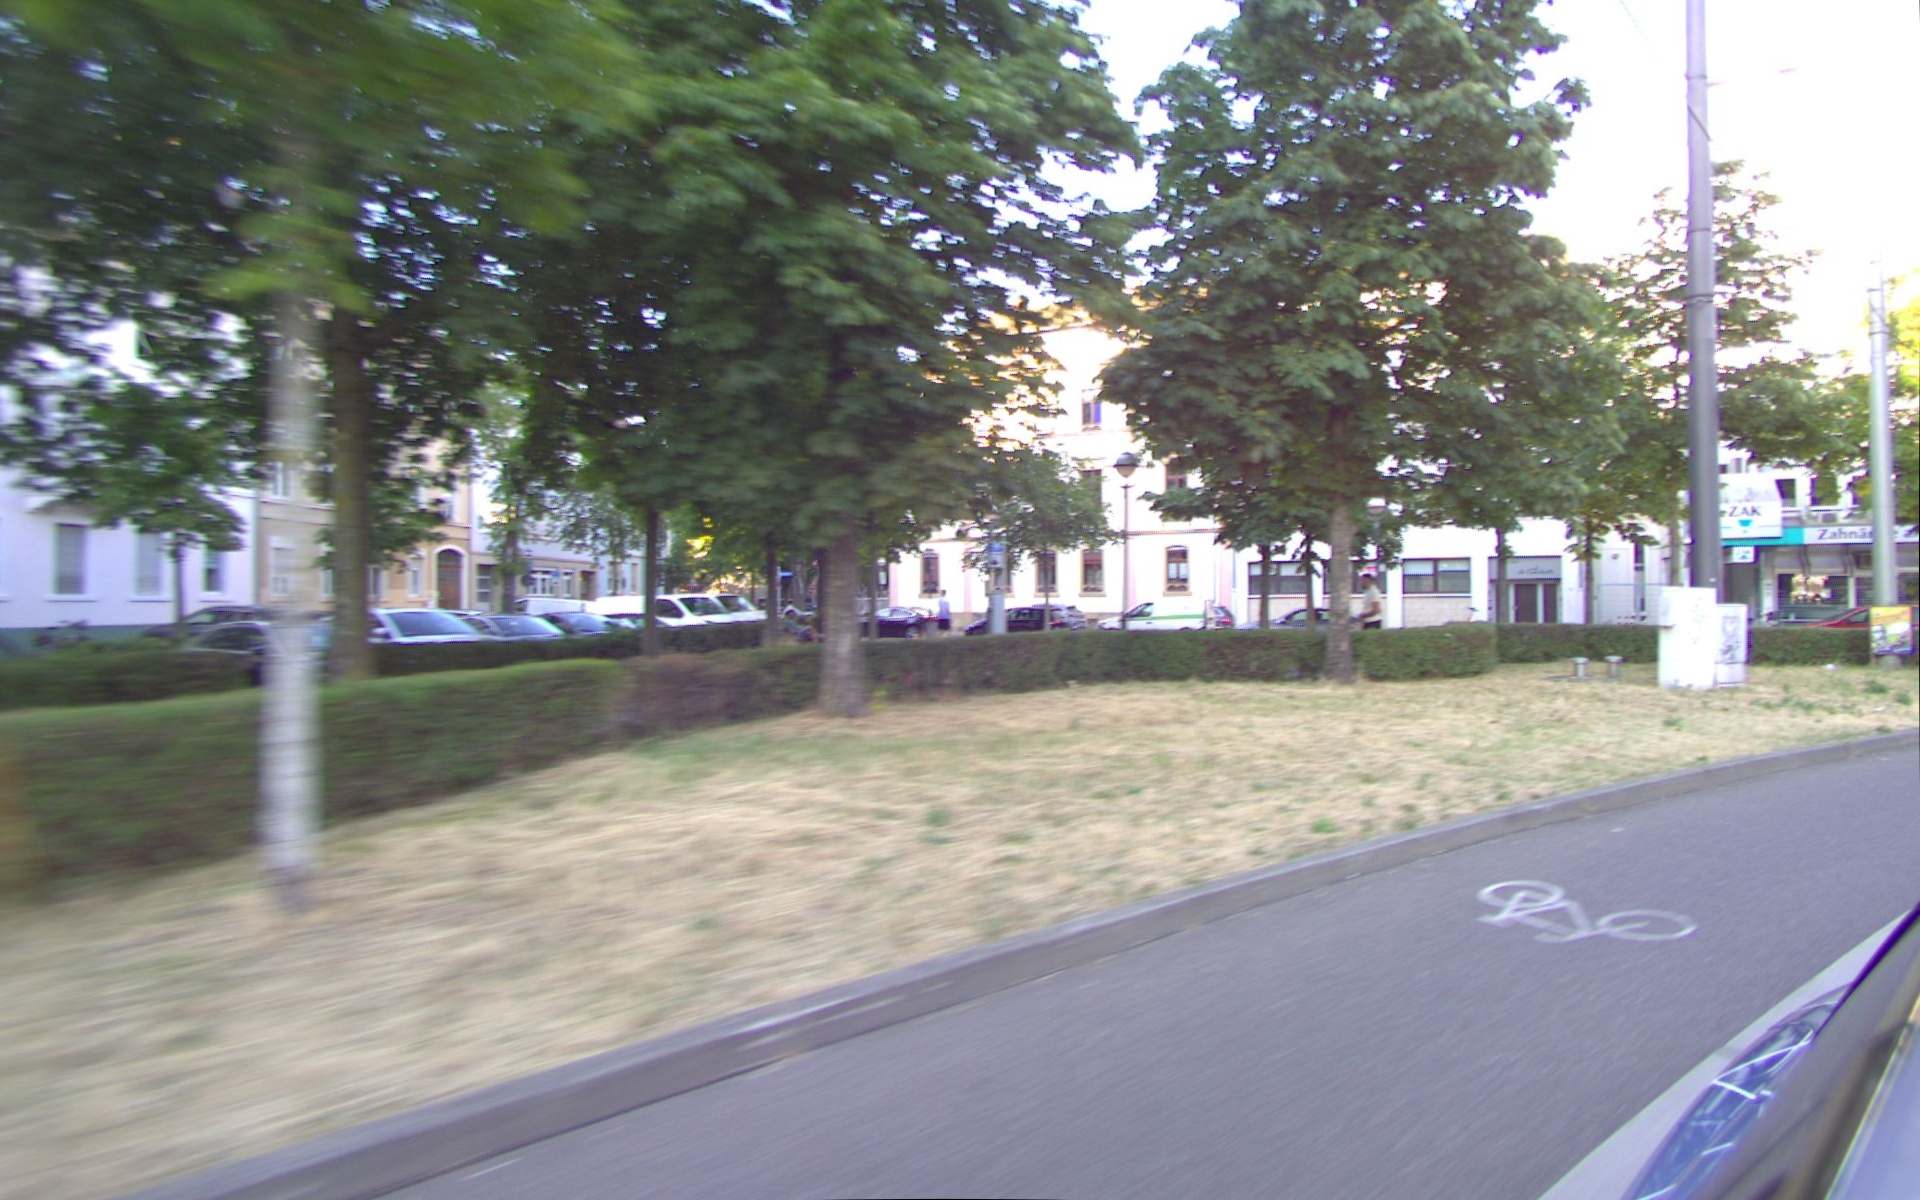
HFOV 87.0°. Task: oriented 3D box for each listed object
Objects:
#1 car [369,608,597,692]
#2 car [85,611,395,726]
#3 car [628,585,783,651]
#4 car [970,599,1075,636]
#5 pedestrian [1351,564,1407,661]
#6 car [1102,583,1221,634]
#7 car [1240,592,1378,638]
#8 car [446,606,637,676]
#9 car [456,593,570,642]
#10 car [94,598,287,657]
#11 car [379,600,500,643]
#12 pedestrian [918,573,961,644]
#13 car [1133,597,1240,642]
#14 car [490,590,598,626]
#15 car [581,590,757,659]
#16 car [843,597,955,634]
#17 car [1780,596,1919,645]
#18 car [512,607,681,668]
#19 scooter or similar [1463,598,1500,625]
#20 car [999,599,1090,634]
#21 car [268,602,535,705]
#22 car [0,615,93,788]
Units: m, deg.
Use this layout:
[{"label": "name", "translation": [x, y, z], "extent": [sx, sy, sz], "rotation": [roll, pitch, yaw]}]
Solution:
[{"label": "car", "translation": [-9.727, 0.961, 20.701], "extent": [4.017, 1.571, 1.987], "rotation": [0, -1, 20]}, {"label": "car", "translation": [-11.108, 0.971, 15.666], "extent": [4.017, 1.571, 1.987], "rotation": [0, -1, 20]}, {"label": "car", "translation": [-8.531, 0.580, 33.801], "extent": [5.034, 2.048, 1.948], "rotation": [0, -1, 28]}, {"label": "car", "translation": [2.427, 0.662, 39.206], "extent": [3.743, 1.353, 1.713], "rotation": [0, -1, 25]}, {"label": "pedestrian", "translation": [7.241, 0.220, 17.508], "extent": [0.637, 1.646, 0.615], "rotation": [1, -1, -17]}, {"label": "car", "translation": [7.307, 0.304, 36.751], "extent": [3.971, 1.747, 1.687], "rotation": [0, -1, 25]}, {"label": "car", "translation": [11.829, 0.487, 34.282], "extent": [4.277, 1.427, 1.792], "rotation": [0, 2, 25]}, {"label": "car", "translation": [-10.140, 0.951, 24.579], "extent": [4.017, 1.571, 1.987], "rotation": [0, -1, 20]}, {"label": "car", "translation": [-15.129, 0.581, 34.521], "extent": [1.930, 1.550, 4.326], "rotation": [0, -1, 0]}, {"label": "car", "translation": [-21.595, 0.758, 28.520], "extent": [3.995, 1.571, 1.998], "rotation": [0, -1, 4]}, {"label": "car", "translation": [-20.125, 0.814, 39.174], "extent": [4.017, 1.571, 1.987], "rotation": [0, -1, 20]}, {"label": "pedestrian", "translation": [-0.614, 0.249, 29.918], "extent": [0.990, 2.039, 0.830], "rotation": [1, -1, -35]}, {"label": "car", "translation": [9.152, 0.760, 40.869], "extent": [3.973, 1.747, 1.686], "rotation": [0, -1, 27]}, {"label": "car", "translation": [-19.216, 0.367, 46.886], "extent": [4.319, 1.633, 1.727], "rotation": [0, -1, 4]}, {"label": "car", "translation": [-8.762, 0.693, 30.411], "extent": [5.034, 1.927, 2.100], "rotation": [0, -1, 28]}, {"label": "car", "translation": [-2.516, 0.617, 41.554], "extent": [4.349, 1.437, 1.713], "rotation": [0, -1, 25]}, {"label": "car", "translation": [28.404, 0.633, 31.598], "extent": [3.957, 1.468, 1.833], "rotation": [-1, -1, 25]}, {"label": "car", "translation": [-9.945, 0.986, 27.747], "extent": [4.017, 1.571, 1.987], "rotation": [0, -1, 20]}, {"label": "scooter or similar", "translation": [20.279, 0.435, 39.367], "extent": [0.480, 1.045, 1.179], "rotation": [1, -1, -44]}, {"label": "car", "translation": [3.680, 0.718, 44.104], "extent": [3.639, 1.468, 1.686], "rotation": [0, -1, 27]}, {"label": "car", "translation": [-9.831, 0.873, 17.873], "extent": [4.017, 1.639, 1.987], "rotation": [0, -1, 20]}, {"label": "car", "translation": [-10.762, 0.930, 9.807], "extent": [4.017, 1.577, 1.853], "rotation": [0, -1, 20]}]
